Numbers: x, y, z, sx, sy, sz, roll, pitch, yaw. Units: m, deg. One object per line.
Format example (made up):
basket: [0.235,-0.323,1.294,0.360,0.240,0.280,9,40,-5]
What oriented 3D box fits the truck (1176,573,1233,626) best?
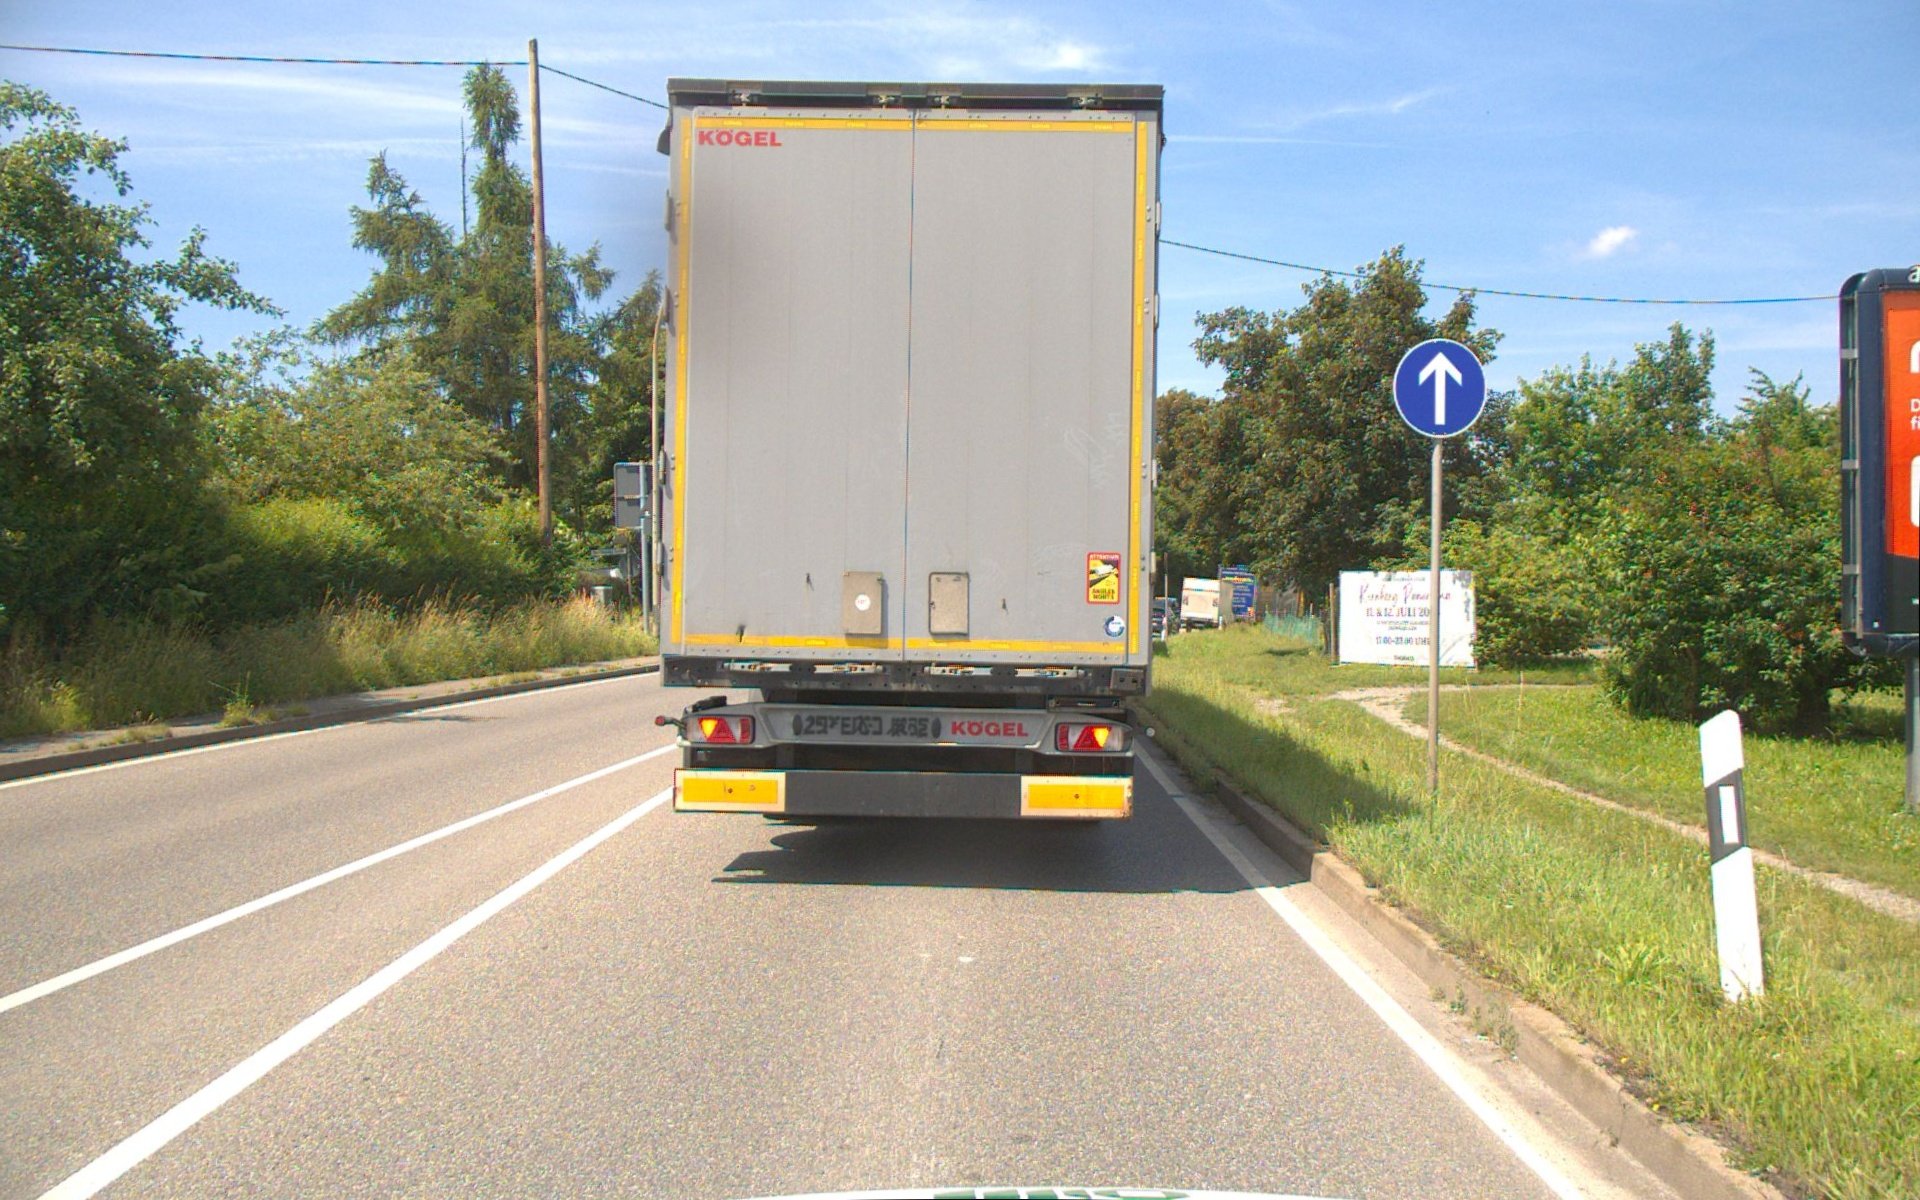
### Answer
truck: [13.845,-0.087,93.358,2.369,2.888,5.416,0,1,17]

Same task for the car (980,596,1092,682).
car: [1.574,0.721,32.767,1.951,1.556,4.003,1,1,6]

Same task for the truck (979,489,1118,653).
truck: [2.858,-0.831,50.687,3.853,4.655,7.157,0,0,6]

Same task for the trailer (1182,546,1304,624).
trailer: [18.960,-1.012,109.487,5.072,4.709,15.898,1,1,20]

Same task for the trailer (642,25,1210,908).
trailer: [0.004,-0.732,14.129,2.729,4.278,12.114,1,1,2]

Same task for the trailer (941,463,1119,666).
trailer: [2.187,-0.819,43.986,3.808,4.600,12.722,0,0,6]

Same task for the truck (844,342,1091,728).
truck: [0.280,-0.764,21.364,2.688,4.238,6.146,1,1,4]

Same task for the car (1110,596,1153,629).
car: [10.373,0.727,99.684,1.951,1.870,4.003,0,1,15]

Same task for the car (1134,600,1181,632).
car: [9.713,0.768,81.275,1.802,1.512,4.003,0,1,14]
